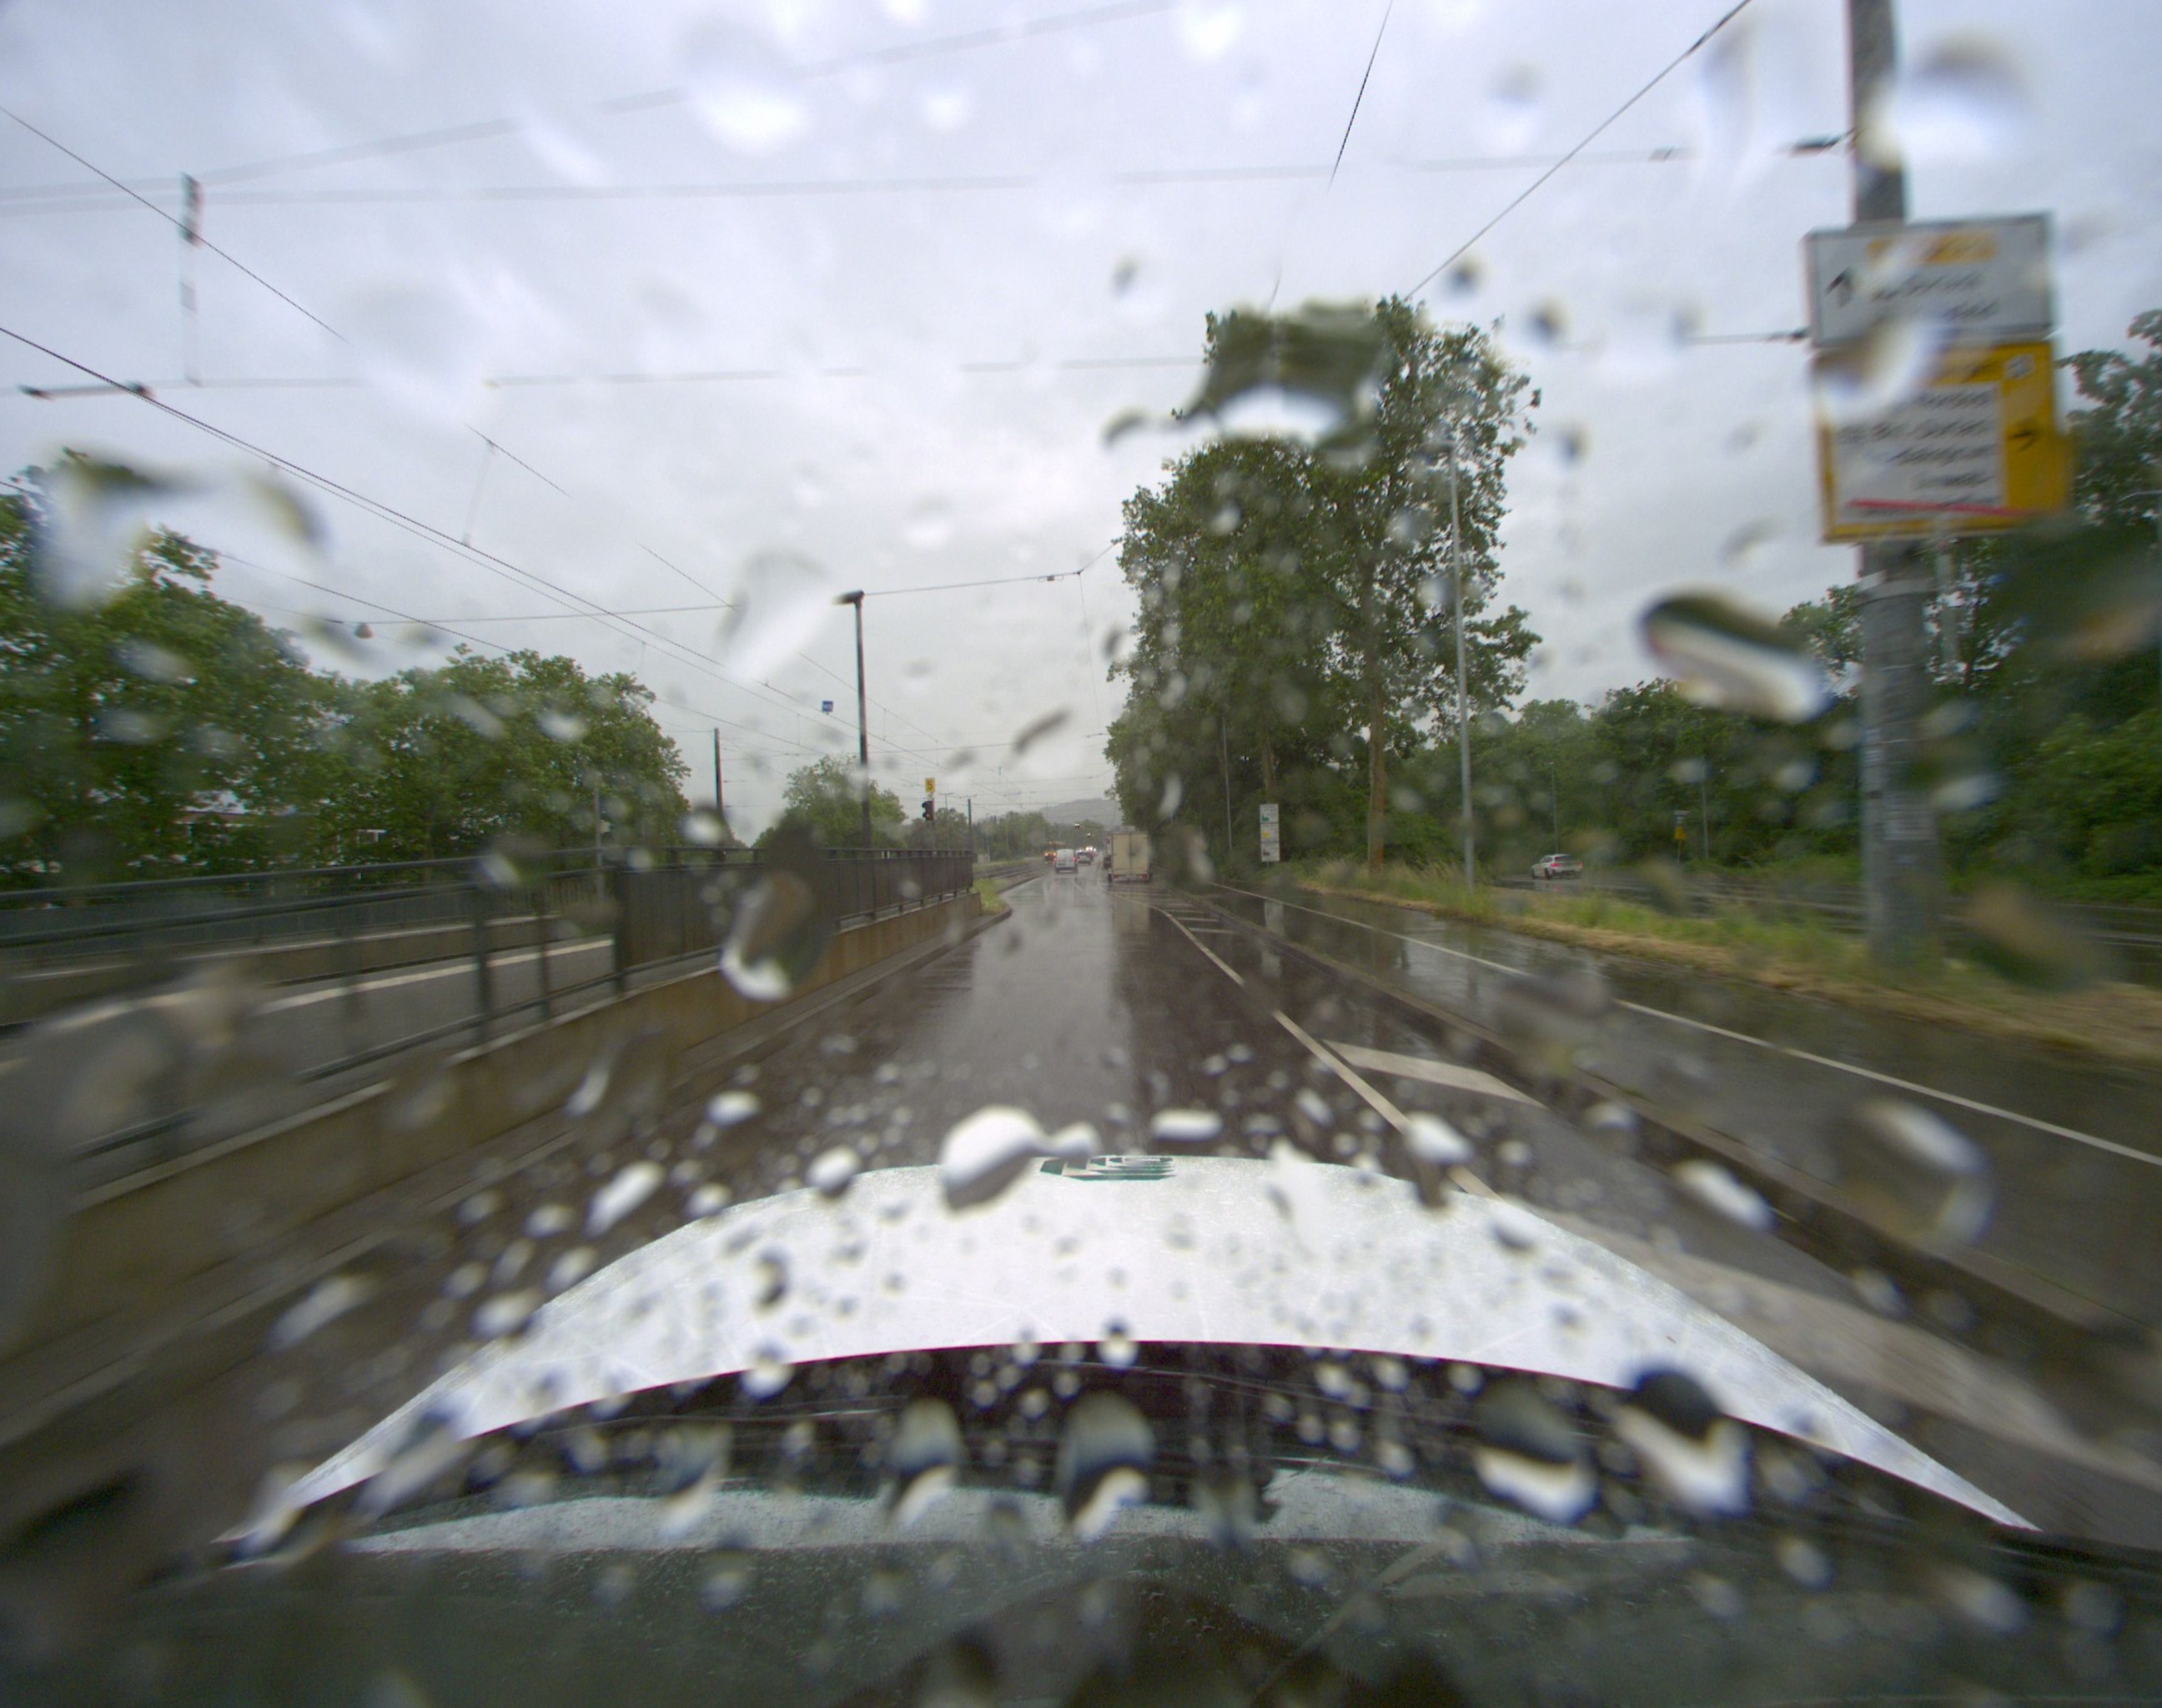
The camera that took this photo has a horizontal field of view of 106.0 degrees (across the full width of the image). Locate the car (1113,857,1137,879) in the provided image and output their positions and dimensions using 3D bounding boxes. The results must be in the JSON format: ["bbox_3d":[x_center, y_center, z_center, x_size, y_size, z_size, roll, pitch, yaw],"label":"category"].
[{"bbox_3d":[3.377,1.065,61.908,1.706,1.529,4.004,-2,0,4],"label":"car"}]

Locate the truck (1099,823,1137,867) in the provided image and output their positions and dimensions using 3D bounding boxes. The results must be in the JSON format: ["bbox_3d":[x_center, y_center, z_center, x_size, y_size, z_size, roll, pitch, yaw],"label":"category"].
[{"bbox_3d":[3.288,-0.717,75.150,2.768,3.704,9.845,-2,-1,-2],"label":"truck"}]

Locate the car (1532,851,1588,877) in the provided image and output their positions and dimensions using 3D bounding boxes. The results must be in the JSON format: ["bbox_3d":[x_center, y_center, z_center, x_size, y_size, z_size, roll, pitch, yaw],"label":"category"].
[{"bbox_3d":[28.552,0.565,48.696,1.874,1.431,4.017,-2,0,16],"label":"car"}]

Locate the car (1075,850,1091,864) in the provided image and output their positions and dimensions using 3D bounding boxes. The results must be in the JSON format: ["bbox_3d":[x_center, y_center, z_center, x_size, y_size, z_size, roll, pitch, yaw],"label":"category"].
[{"bbox_3d":[0.239,0.365,94.898,1.780,1.642,3.969,-2,-1,1],"label":"car"}]

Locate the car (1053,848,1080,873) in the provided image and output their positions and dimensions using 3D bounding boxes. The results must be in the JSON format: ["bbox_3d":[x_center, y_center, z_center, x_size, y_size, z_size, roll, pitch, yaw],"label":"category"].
[{"bbox_3d":[-1.162,0.475,63.351,1.989,1.849,3.997,-2,0,-2],"label":"car"}]

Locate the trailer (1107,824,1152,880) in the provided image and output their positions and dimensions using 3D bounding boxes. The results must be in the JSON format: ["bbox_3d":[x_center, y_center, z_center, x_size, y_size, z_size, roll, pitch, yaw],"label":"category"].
[{"bbox_3d":[2.647,-0.062,43.799,2.156,2.757,5.682,-2,-1,4],"label":"trailer"}]

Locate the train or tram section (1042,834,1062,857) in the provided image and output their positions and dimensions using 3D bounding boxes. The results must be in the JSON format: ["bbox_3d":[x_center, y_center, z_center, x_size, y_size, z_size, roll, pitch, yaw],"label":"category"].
[{"bbox_3d":[-5.568,-1.588,157.113,2.796,4.149,13.025,-2,0,2],"label":"train or tram section"}]
